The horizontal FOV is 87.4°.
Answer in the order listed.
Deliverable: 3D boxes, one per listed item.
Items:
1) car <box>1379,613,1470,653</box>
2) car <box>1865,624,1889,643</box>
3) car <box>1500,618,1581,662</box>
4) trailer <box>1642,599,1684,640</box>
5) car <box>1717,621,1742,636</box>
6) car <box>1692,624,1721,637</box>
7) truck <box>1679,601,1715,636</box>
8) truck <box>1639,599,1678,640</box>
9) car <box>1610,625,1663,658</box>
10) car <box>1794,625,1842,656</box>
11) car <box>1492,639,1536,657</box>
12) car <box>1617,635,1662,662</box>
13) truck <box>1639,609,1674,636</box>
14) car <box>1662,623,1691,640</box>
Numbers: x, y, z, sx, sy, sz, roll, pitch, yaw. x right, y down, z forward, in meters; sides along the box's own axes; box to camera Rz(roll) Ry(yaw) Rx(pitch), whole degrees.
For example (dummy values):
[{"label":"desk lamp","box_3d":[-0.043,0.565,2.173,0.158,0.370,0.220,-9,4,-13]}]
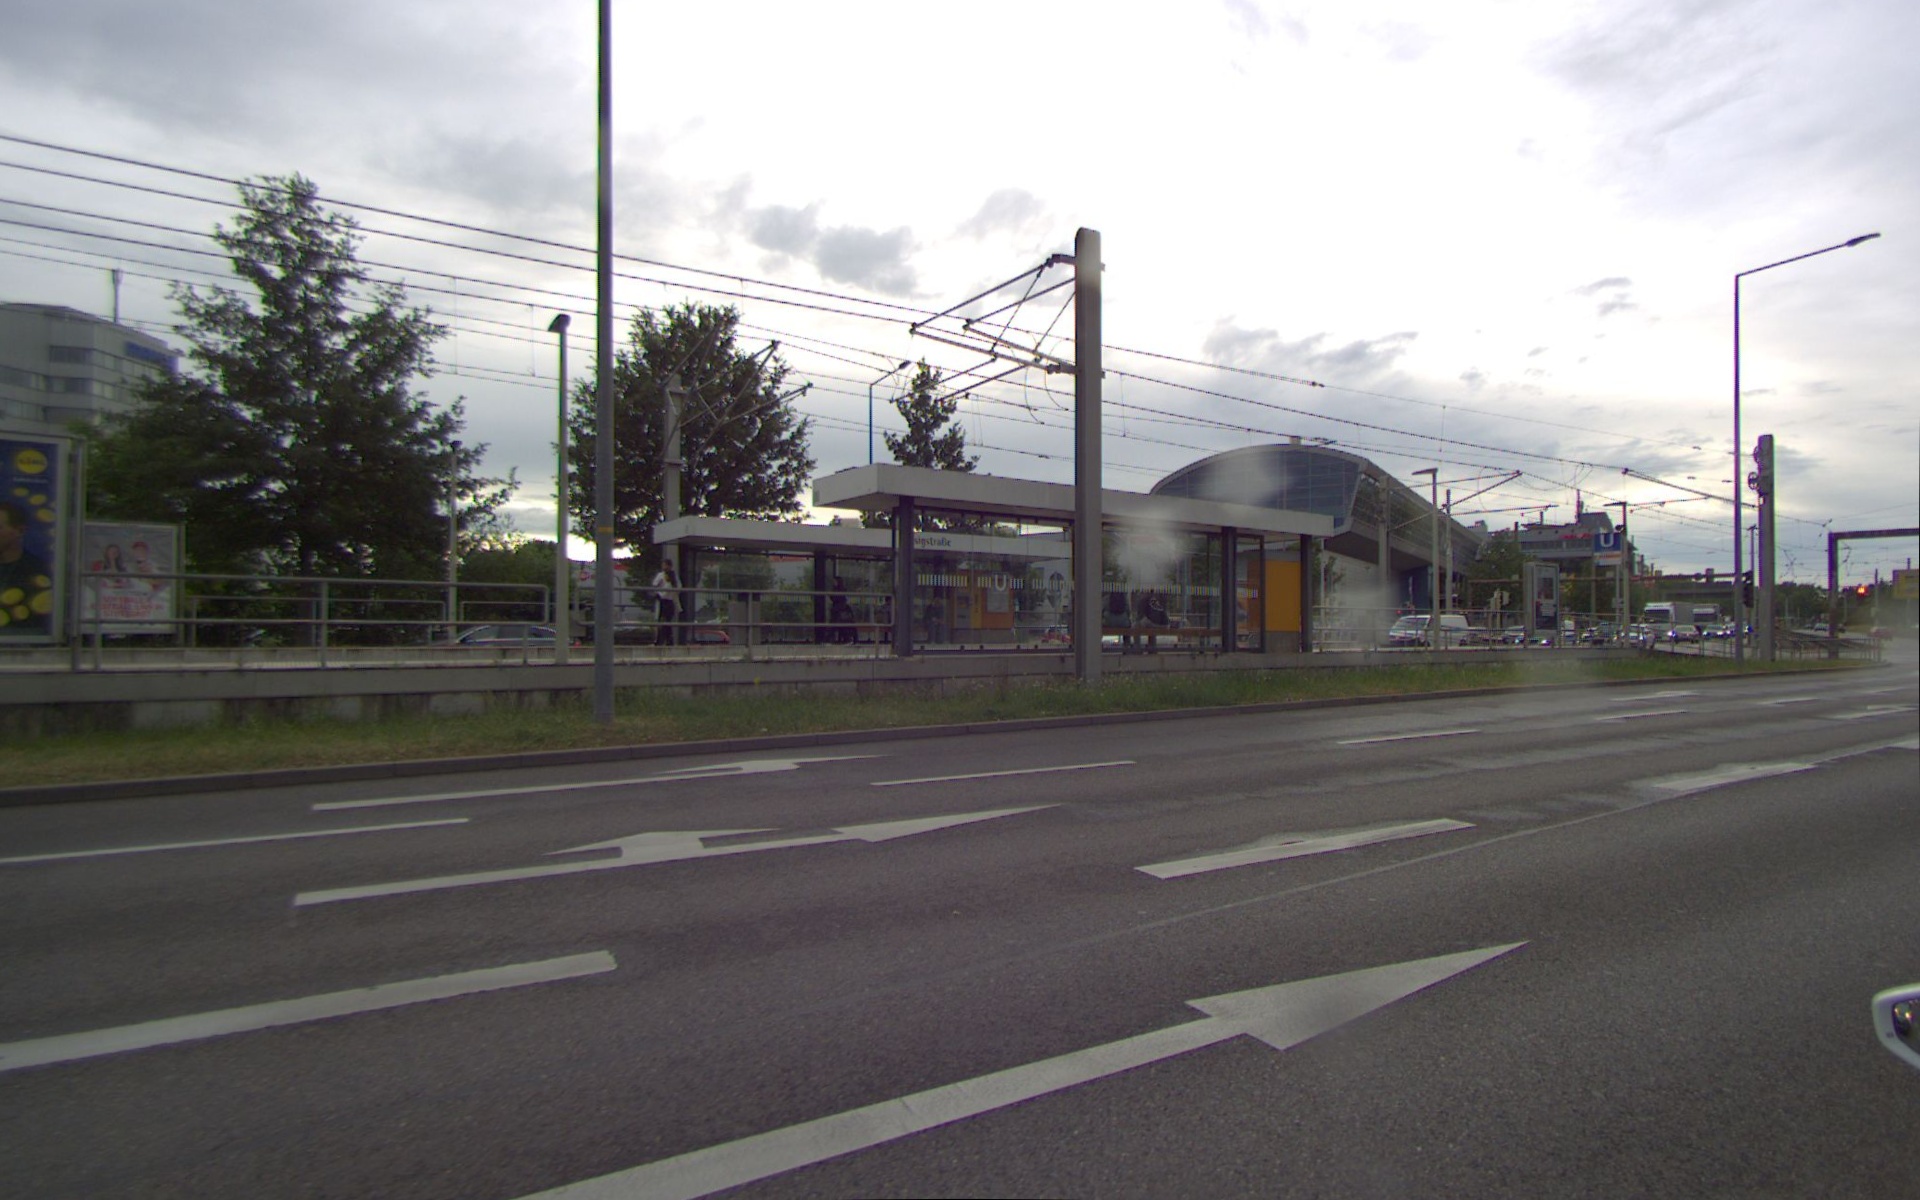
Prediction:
[{"label":"car","box_3d":[22.550,1.613,48.702,4.987,1.754,1.978,2,0,-39]},{"label":"car","box_3d":[104.061,3.820,114.020,1.752,2.040,4.327,2,0,40]},{"label":"car","box_3d":[32.284,2.236,55.799,5.095,2.244,1.979,2,0,-36]},{"label":"trailer","box_3d":[75.043,2.083,107.130,2.761,4.161,11.390,-1,-2,39]},{"label":"car","box_3d":[92.344,3.462,120.550,1.867,1.674,4.071,2,0,44]},{"label":"car","box_3d":[79.243,3.284,106.652,1.888,1.281,4.386,2,0,45]},{"label":"truck","box_3d":[90.021,2.332,122.662,2.639,4.184,6.147,-1,-3,45]},{"label":"truck","box_3d":[71.676,2.024,103.039,2.798,4.049,5.959,-1,-2,40]},{"label":"car","box_3d":[45.273,2.787,67.204,4.312,2.040,1.758,2,0,-40]},{"label":"car","box_3d":[60.468,2.836,70.798,4.309,2.040,1.759,1,1,-38]},{"label":"car","box_3d":[39.444,3.398,71.530,3.905,1.146,1.512,2,0,-42]},{"label":"car","box_3d":[45.180,3.234,66.738,4.238,1.688,1.514,2,0,-43]},{"label":"truck","box_3d":[105.331,3.415,151.933,2.700,3.855,5.414,-1,-3,17]},{"label":"car","box_3d":[66.102,2.939,92.657,1.719,1.481,4.131,2,0,42]}]
